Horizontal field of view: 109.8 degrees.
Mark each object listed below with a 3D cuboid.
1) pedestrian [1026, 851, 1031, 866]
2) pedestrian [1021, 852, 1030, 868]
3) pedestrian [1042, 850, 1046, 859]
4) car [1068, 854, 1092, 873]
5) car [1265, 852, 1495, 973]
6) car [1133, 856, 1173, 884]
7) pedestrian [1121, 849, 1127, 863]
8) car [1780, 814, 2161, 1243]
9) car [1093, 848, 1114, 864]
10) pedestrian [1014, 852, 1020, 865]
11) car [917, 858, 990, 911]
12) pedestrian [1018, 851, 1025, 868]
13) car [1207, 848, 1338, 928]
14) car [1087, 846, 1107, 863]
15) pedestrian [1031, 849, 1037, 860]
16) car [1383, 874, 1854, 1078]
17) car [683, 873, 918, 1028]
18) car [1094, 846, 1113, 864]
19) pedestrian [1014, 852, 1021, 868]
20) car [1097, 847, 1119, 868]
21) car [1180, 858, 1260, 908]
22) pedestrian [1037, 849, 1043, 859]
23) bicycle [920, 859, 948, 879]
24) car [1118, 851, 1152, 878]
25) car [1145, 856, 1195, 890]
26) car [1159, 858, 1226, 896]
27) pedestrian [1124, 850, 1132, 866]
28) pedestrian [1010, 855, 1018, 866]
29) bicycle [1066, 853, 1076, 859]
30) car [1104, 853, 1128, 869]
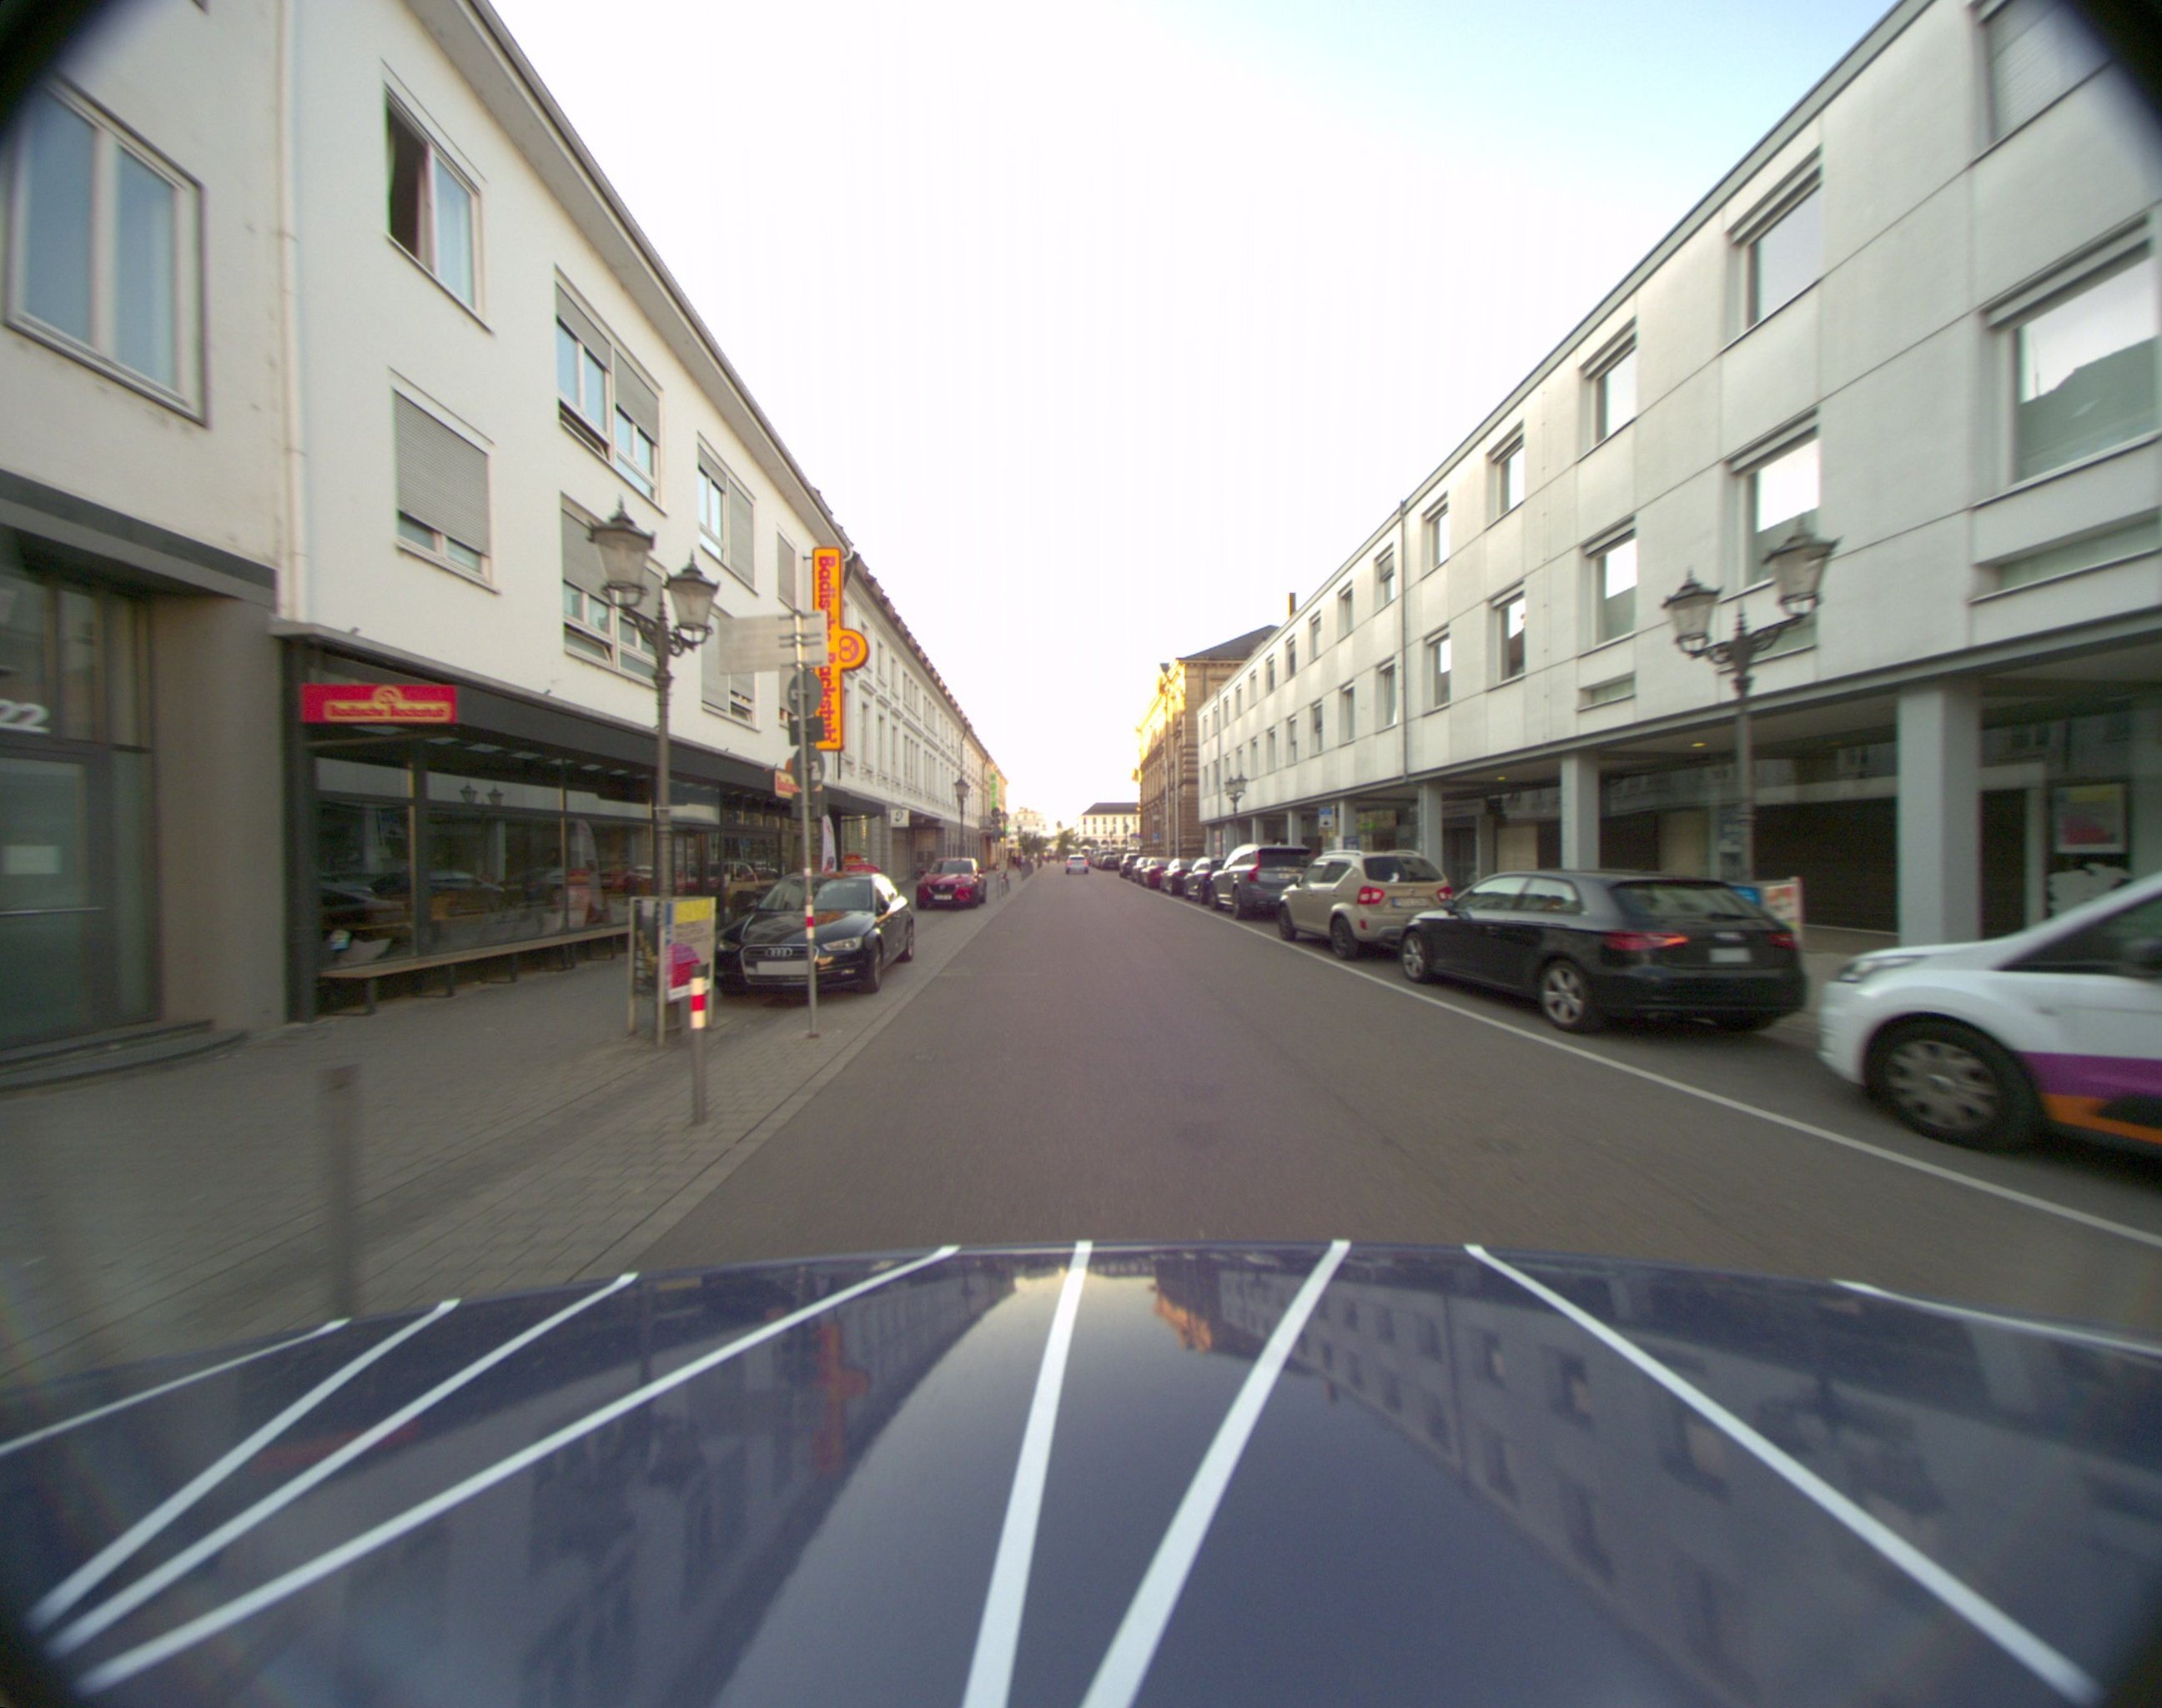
[{"bbox_3d":[-6.134,0.502,88.697,0.609,1.720,0.558,-1,1,0],"label":"pedestrian"},{"bbox_3d":[-6.008,0.635,82.042,0.749,1.720,0.881,-1,1,5],"label":"pedestrian"},{"bbox_3d":[-6.421,0.113,131.647,0.684,1.557,0.652,-1,1,-3],"label":"pedestrian"},{"bbox_3d":[-0.116,0.748,59.489,1.769,1.414,3.999,0,0,-2],"label":"car"},{"bbox_3d":[4.592,0.805,12.434,1.999,1.652,3.998,1,0,-3],"label":"car"},{"bbox_3d":[3.881,0.830,41.552,1.789,1.400,4.087,-1,0,-1],"label":"car"},{"bbox_3d":[5.433,0.241,95.992,0.609,1.720,0.703,-1,1,0],"label":"pedestrian"},{"bbox_3d":[5.646,0.714,2.461,2.000,1.805,4.780,-1,0,-8],"label":"car"},{"bbox_3d":[2.469,0.164,85.879,1.999,1.742,4.988,-1,1,-2],"label":"car"},{"bbox_3d":[-7.477,0.526,88.373,0.631,1.591,0.615,-1,1,0],"label":"pedestrian"},{"bbox_3d":[-3.957,0.905,24.098,1.764,1.514,3.676,0,0,-1],"label":"car"},{"bbox_3d":[-6.302,0.610,80.544,0.621,1.779,0.913,-1,1,2],"label":"pedestrian"},{"bbox_3d":[4.525,0.722,18.732,1.999,1.718,4.515,0,0,-1],"label":"car"},{"bbox_3d":[2.031,0.056,98.422,1.999,2.158,5.205,-1,0,-4],"label":"car"},{"bbox_3d":[-8.025,0.085,130.298,0.607,1.720,0.719,0,1,42],"label":"pedestrian"},{"bbox_3d":[4.839,0.957,7.707,1.682,1.345,4.103,-1,0,-4],"label":"car"},{"bbox_3d":[-3.340,1.048,9.952,1.807,1.455,4.115,0,0,-4],"label":"car"},{"bbox_3d":[2.670,0.118,91.562,1.999,2.075,5.206,-1,1,-1],"label":"car"},{"bbox_3d":[-6.812,0.664,81.622,0.715,1.720,0.873,-1,1,1],"label":"pedestrian"},{"bbox_3d":[2.802,0.287,79.686,1.999,2.066,4.988,-1,1,-2],"label":"car"},{"bbox_3d":[4.348,0.864,24.331,1.677,1.392,3.999,0,0,-2],"label":"car"},{"bbox_3d":[-7.052,-0.013,130.418,0.667,1.720,0.767,0,1,42],"label":"pedestrian"},{"bbox_3d":[-9.193,0.923,47.428,1.661,1.245,0.439,-1,1,-4],"label":"bicycle"},{"bbox_3d":[3.394,0.653,48.270,1.789,1.605,4.165,-1,0,-1],"label":"car"},{"bbox_3d":[4.082,0.842,35.271,1.789,1.400,4.087,-1,0,-1],"label":"car"},{"bbox_3d":[4.329,0.869,30.141,1.999,1.346,3.999,1,0,-1],"label":"car"},{"bbox_3d":[5.092,0.426,83.064,0.715,1.720,0.896,-4,1,0],"label":"pedestrian"},{"bbox_3d":[-8.289,0.761,94.170,0.777,1.351,0.723,-1,1,-18],"label":"pedestrian"},{"bbox_3d":[-1.871,0.432,140.854,1.683,1.115,0.846,-1,1,33],"label":"bicycle"},{"bbox_3d":[3.365,0.647,73.121,1.999,1.486,4.163,-1,1,-1],"label":"car"}]
